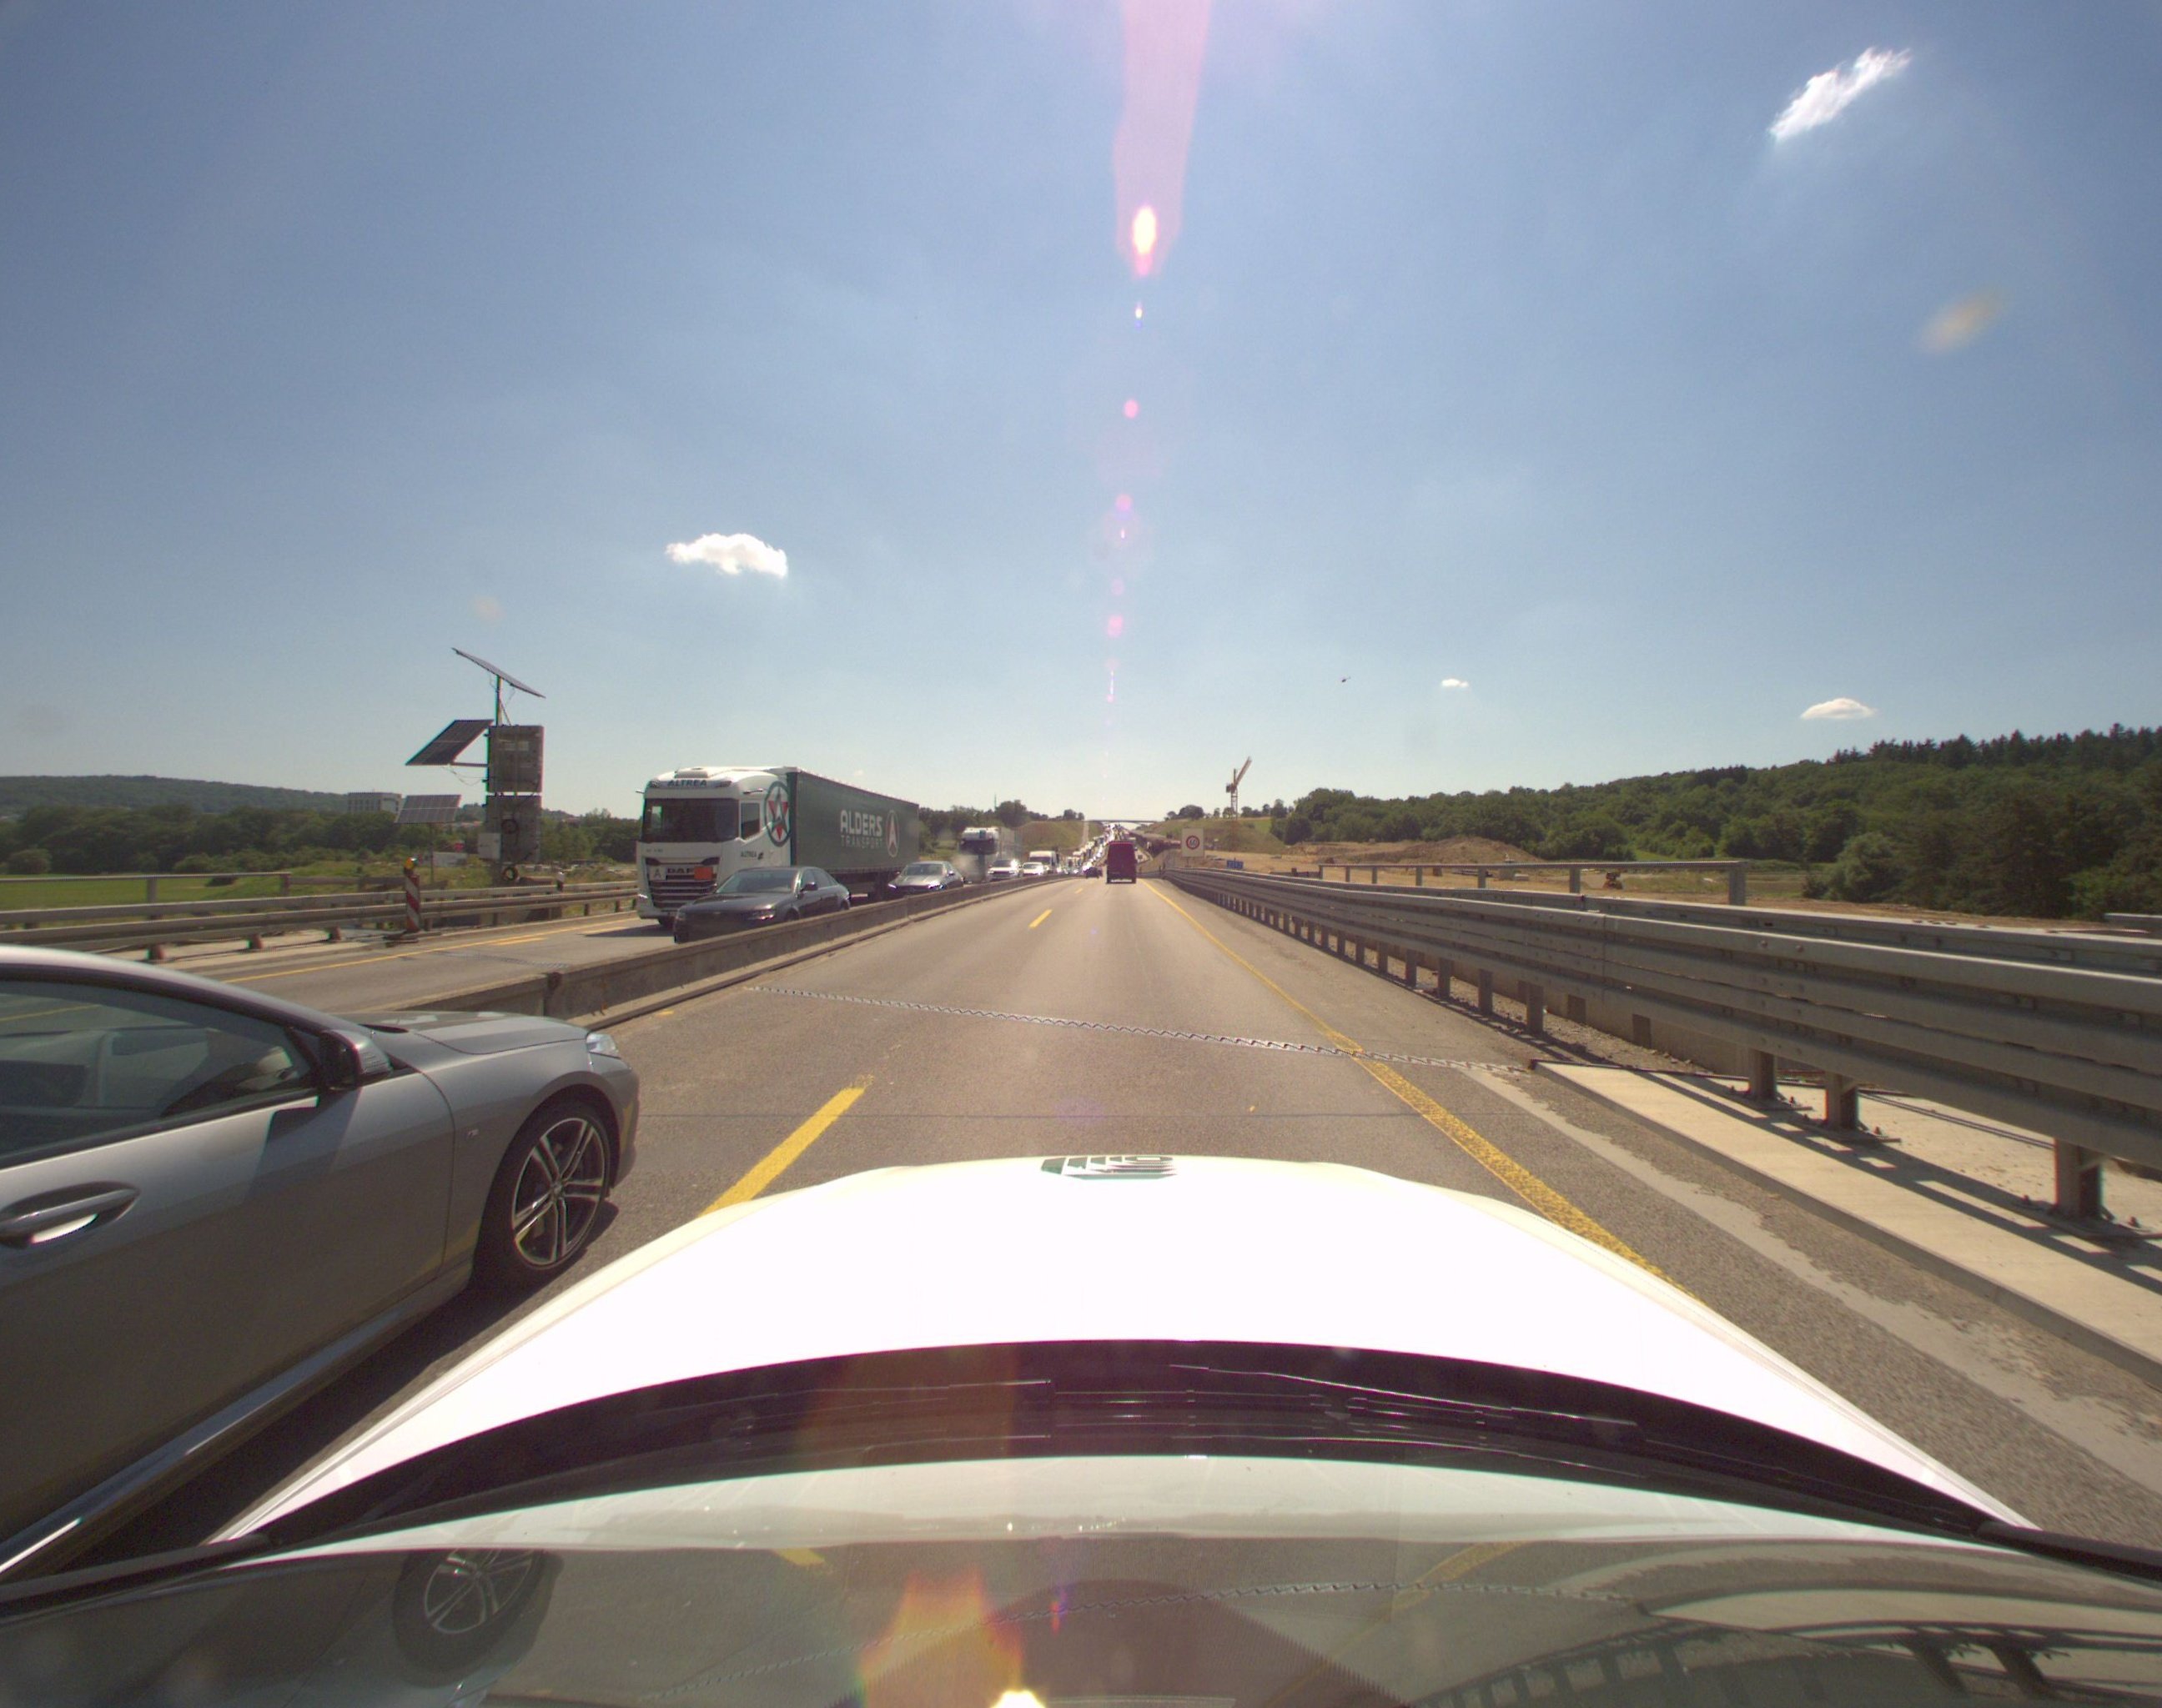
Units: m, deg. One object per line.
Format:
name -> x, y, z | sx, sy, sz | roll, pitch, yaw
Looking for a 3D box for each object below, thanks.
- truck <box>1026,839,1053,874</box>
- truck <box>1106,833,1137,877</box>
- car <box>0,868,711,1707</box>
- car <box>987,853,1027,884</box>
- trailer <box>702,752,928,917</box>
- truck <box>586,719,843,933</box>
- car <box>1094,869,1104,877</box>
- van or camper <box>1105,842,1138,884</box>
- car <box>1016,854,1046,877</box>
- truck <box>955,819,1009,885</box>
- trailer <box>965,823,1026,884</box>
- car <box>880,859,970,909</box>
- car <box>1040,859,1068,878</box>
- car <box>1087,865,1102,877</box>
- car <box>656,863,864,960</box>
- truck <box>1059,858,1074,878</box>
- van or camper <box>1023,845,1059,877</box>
truck -> -5.264, 0.427, 105.812 | 2.792, 4.153, 10.078 | 1, -2, 1
truck -> 4.520, 0.125, 92.373 | 3.011, 4.693, 6.931 | -2, 0, 0
car -> -2.844, 0.805, 1.665 | 1.844, 1.452, 4.744 | -1, 0, 2
car -> -4.209, 0.795, 46.636 | 1.750, 1.646, 4.157 | 1, 0, 2
trailer -> -8.529, -0.512, 28.847 | 3.089, 4.465, 13.027 | -1, 0, 3
truck -> -8.871, -0.579, 20.929 | 3.065, 4.537, 7.108 | -1, 0, 3
car -> 3.526, 3.677, 159.010 | 2.004, 1.545, 4.133 | 1, 0, 1
van or camper -> 2.663, 0.583, 54.771 | 2.022, 2.744, 4.515 | 0, 0, 0
car -> -3.504, 0.787, 57.816 | 1.988, 1.498, 4.971 | 1, 0, -2
truck -> -7.011, -0.133, 58.376 | 2.795, 4.392, 6.229 | -1, 0, 3
trailer -> -6.681, 0.091, 65.968 | 2.804, 4.430, 13.175 | -1, -1, 3
car -> -5.070, 0.938, 27.053 | 1.858, 1.459, 4.610 | 1, 0, 3
car -> -2.668, 1.392, 81.573 | 2.362, 1.726, 5.784 | 1, 0, 2
car -> 1.904, 2.291, 112.062 | 2.005, 1.545, 4.132 | 0, 0, 1
car -> -5.580, 0.917, 14.879 | 1.770, 1.420, 4.541 | 1, 0, 3
truck -> -2.991, 2.894, 168.798 | 2.970, 4.185, 5.868 | 0, -1, -2
van or camper -> -3.240, 0.543, 67.785 | 2.209, 2.511, 6.539 | 1, 0, 3
